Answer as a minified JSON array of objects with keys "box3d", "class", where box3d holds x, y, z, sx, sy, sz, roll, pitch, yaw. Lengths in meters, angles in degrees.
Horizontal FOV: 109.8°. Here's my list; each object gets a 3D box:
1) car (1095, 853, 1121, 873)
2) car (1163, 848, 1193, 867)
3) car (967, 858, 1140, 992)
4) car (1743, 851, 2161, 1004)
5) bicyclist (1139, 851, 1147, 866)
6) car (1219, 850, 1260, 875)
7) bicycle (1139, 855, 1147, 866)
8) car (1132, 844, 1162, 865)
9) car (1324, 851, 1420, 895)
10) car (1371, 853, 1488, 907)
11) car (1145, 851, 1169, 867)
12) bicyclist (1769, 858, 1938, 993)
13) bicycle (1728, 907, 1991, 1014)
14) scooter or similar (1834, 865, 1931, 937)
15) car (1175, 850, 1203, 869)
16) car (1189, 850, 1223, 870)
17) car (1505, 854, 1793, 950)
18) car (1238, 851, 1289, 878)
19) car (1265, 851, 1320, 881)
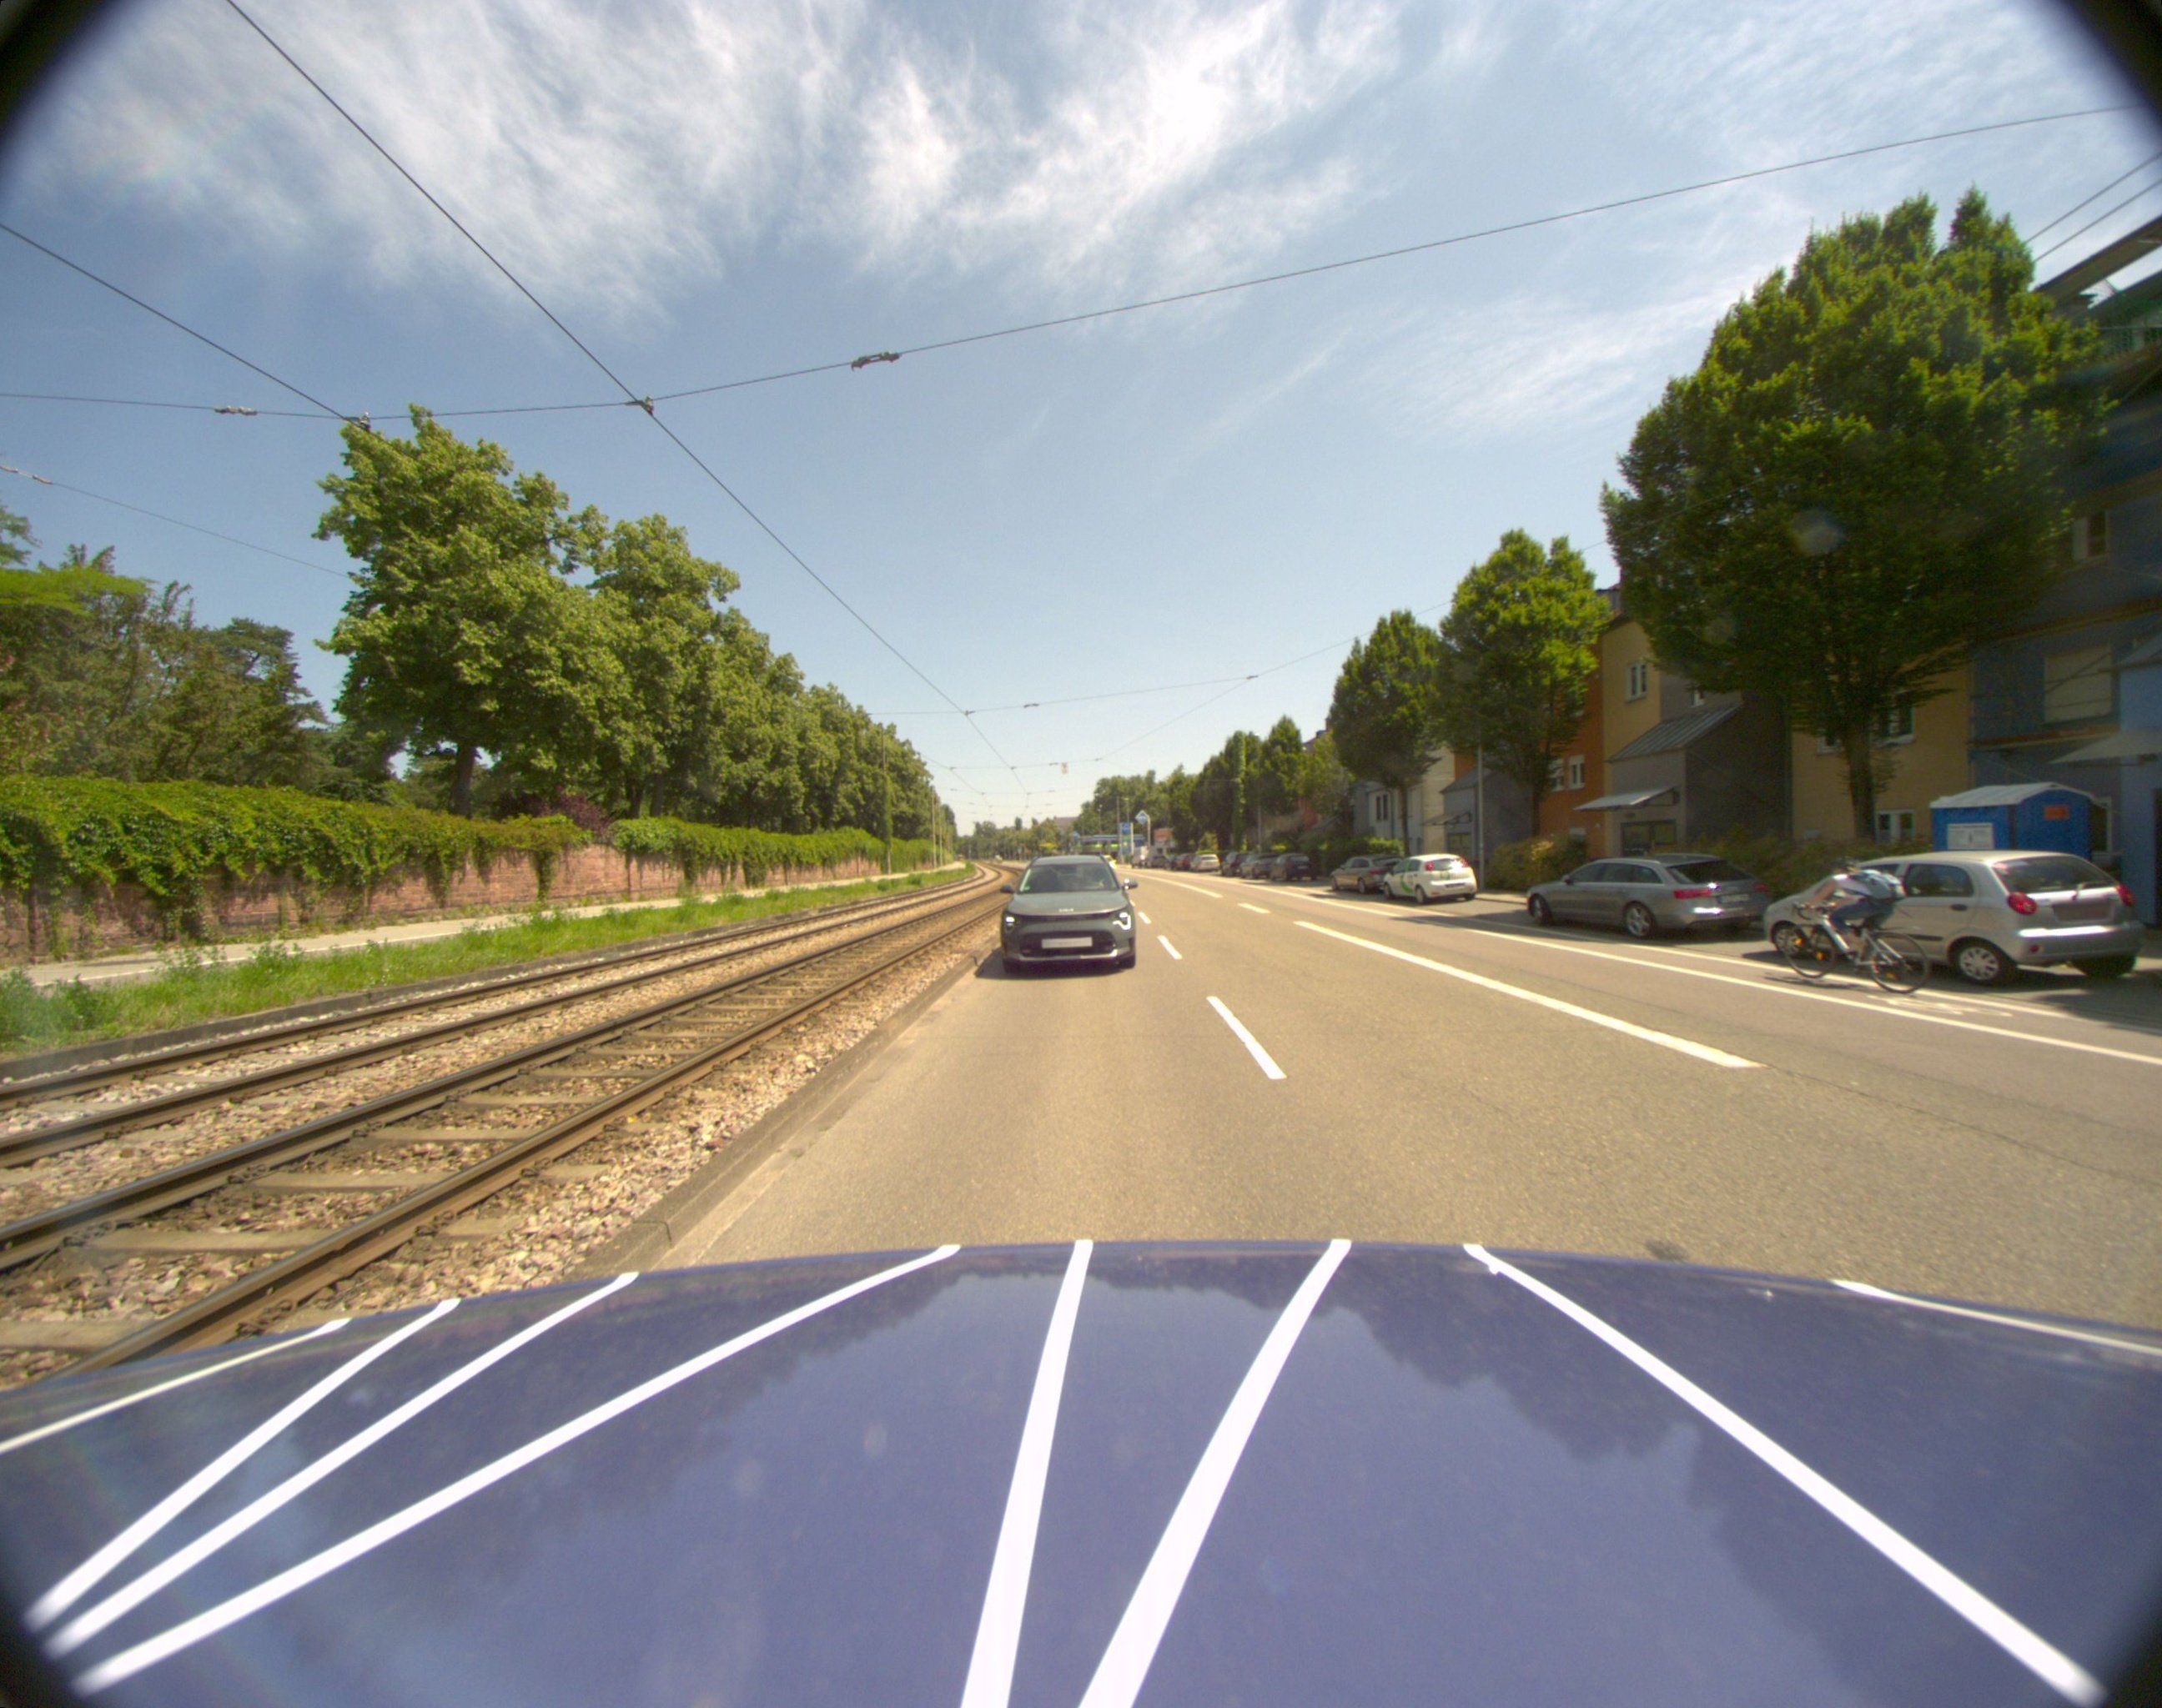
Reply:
[{"box3d":[2.087,0.682,58.917,1.695,1.403,3.514,-3,0,-2],"class":"car"},{"box3d":[9.570,0.326,75.117,1.999,1.783,4.556,-2,0,-5],"class":"car"},{"box3d":[-0.229,0.896,11.415,2.062,1.534,4.001,-3,0,3],"class":"car"},{"box3d":[10.944,0.785,9.874,1.597,1.487,3.448,-6,0,1],"class":"car"},{"box3d":[6.493,0.442,79.233,0.737,1.496,0.737,1,2,1],"class":"bicyclist"},{"box3d":[10.935,0.562,52.694,1.772,1.579,4.147,-3,0,-3],"class":"car"},{"box3d":[6.483,0.650,79.279,0.641,1.089,1.638,1,1,1],"class":"bicycle"},{"box3d":[7.753,0.139,90.054,2.285,2.294,5.226,-3,0,-8],"class":"car"},{"box3d":[11.450,0.707,30.299,1.708,1.421,4.750,-6,0,-2],"class":"car"},{"box3d":[11.330,0.784,25.075,1.750,1.434,4.420,-6,0,0],"class":"car"},{"box3d":[8.347,0.552,84.001,1.870,1.528,4.142,-3,0,-4],"class":"car"},{"box3d":[8.880,0.782,8.800,0.737,1.422,1.124,2,1,-2],"class":"bicyclist"},{"box3d":[8.862,1.160,8.835,0.703,0.945,2.243,1,0,-2],"class":"bicycle"},{"box3d":[13.654,0.777,12.978,0.455,1.139,1.183,-1,0,3],"class":"scooter or similar"},{"box3d":[9.887,0.514,69.909,1.604,1.584,3.680,-3,0,-5],"class":"car"},{"box3d":[10.481,0.500,64.016,1.845,1.573,4.495,-3,0,-2],"class":"car"},{"box3d":[10.891,0.828,15.215,1.791,1.441,5.133,-5,0,0],"class":"car"},{"box3d":[11.180,0.610,46.873,1.830,1.487,4.756,-3,0,-1],"class":"car"},{"box3d":[11.497,0.622,41.583,1.754,1.424,4.256,-3,0,0],"class":"car"}]
